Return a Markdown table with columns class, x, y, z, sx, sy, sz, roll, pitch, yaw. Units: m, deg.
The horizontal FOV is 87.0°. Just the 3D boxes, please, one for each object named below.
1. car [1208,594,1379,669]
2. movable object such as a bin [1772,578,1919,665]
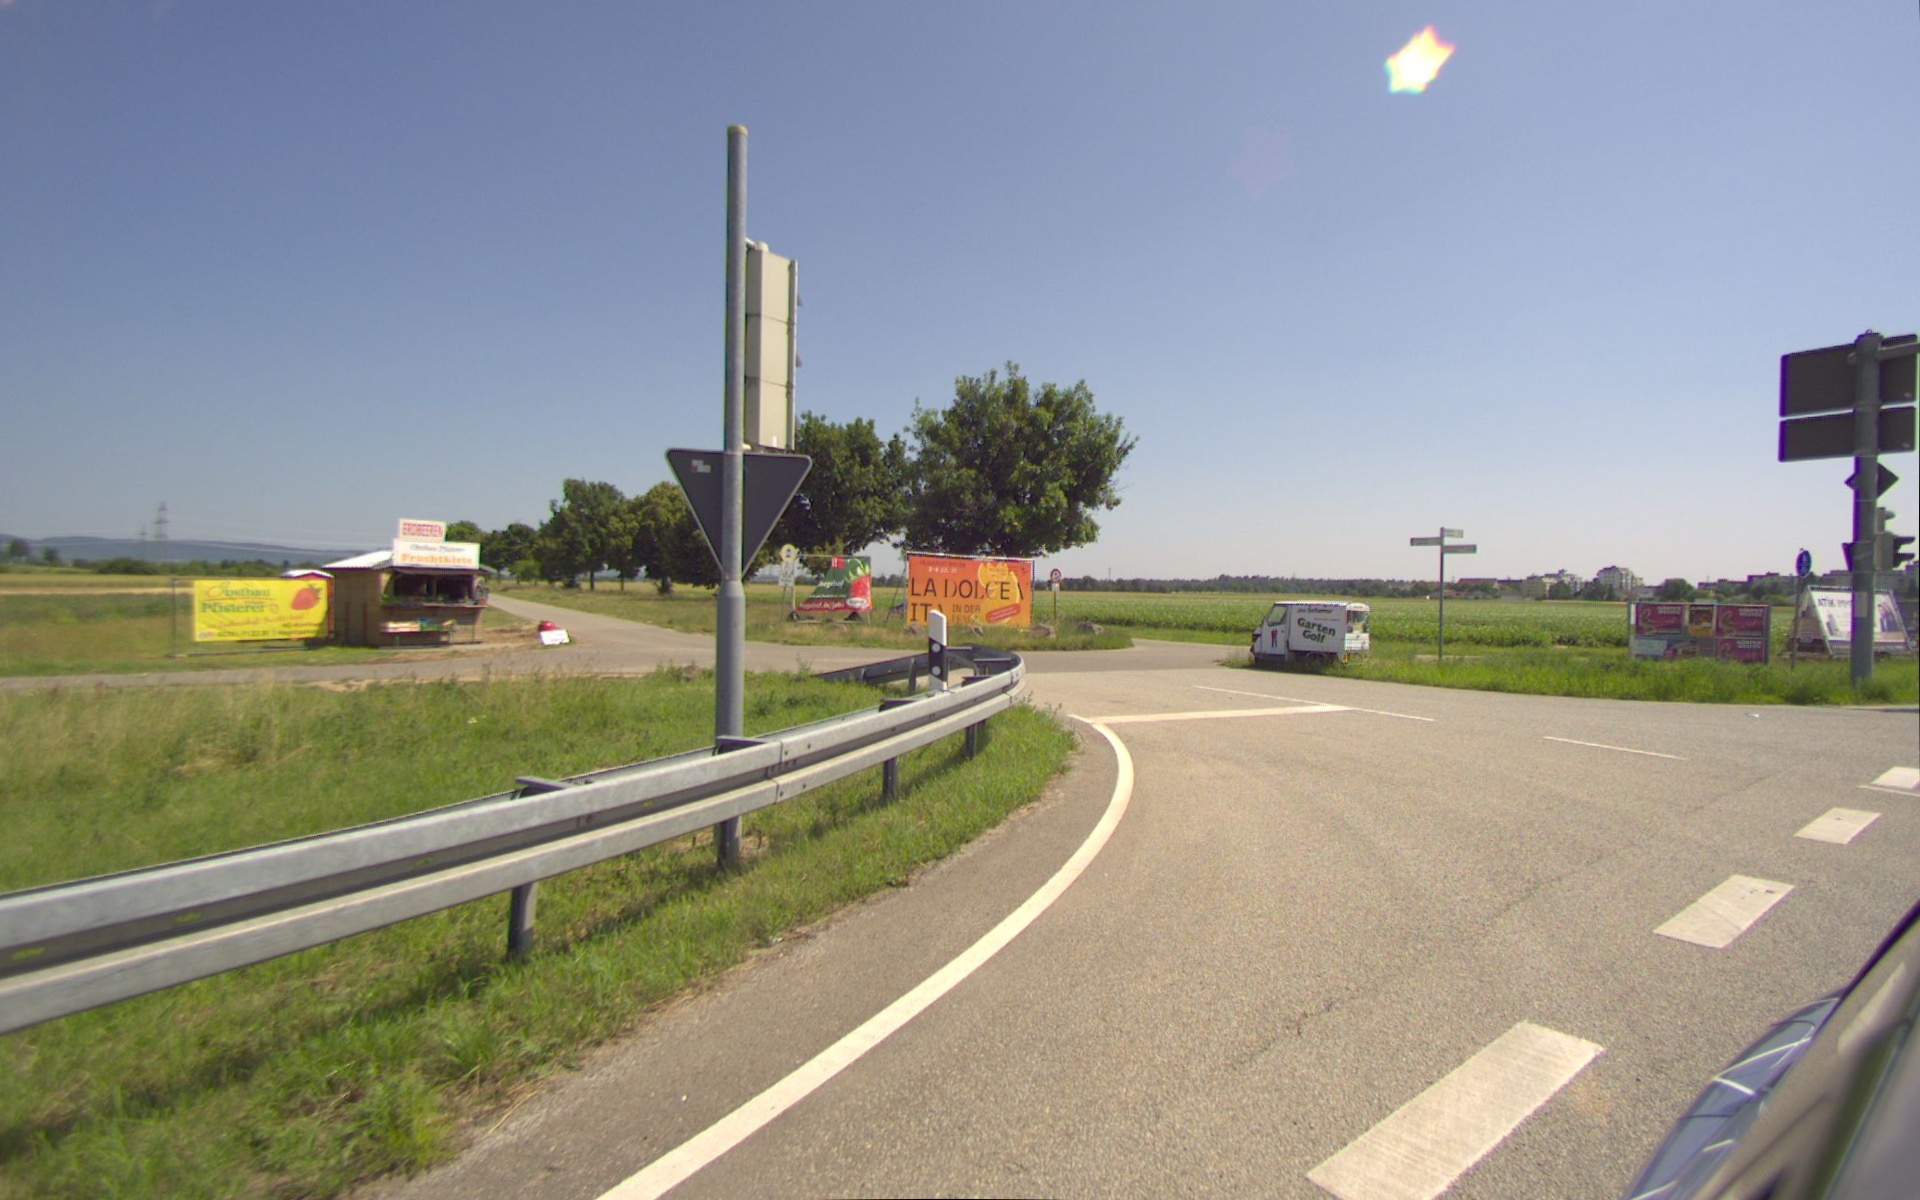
| class | x | y | z | sx | sy | sz | roll | pitch | yaw |
| --- | --- | --- | --- | --- | --- | --- | --- | --- | --- |
| car | 7.301 | 0.636 | 22.305 | 1.378 | 1.518 | 3.337 | 0 | 0 | -45 |
| movable object such as a bin | 25.783 | 0.581 | 29.287 | 4.331 | 2.393 | 1.529 | -1 | -1 | -21 |
